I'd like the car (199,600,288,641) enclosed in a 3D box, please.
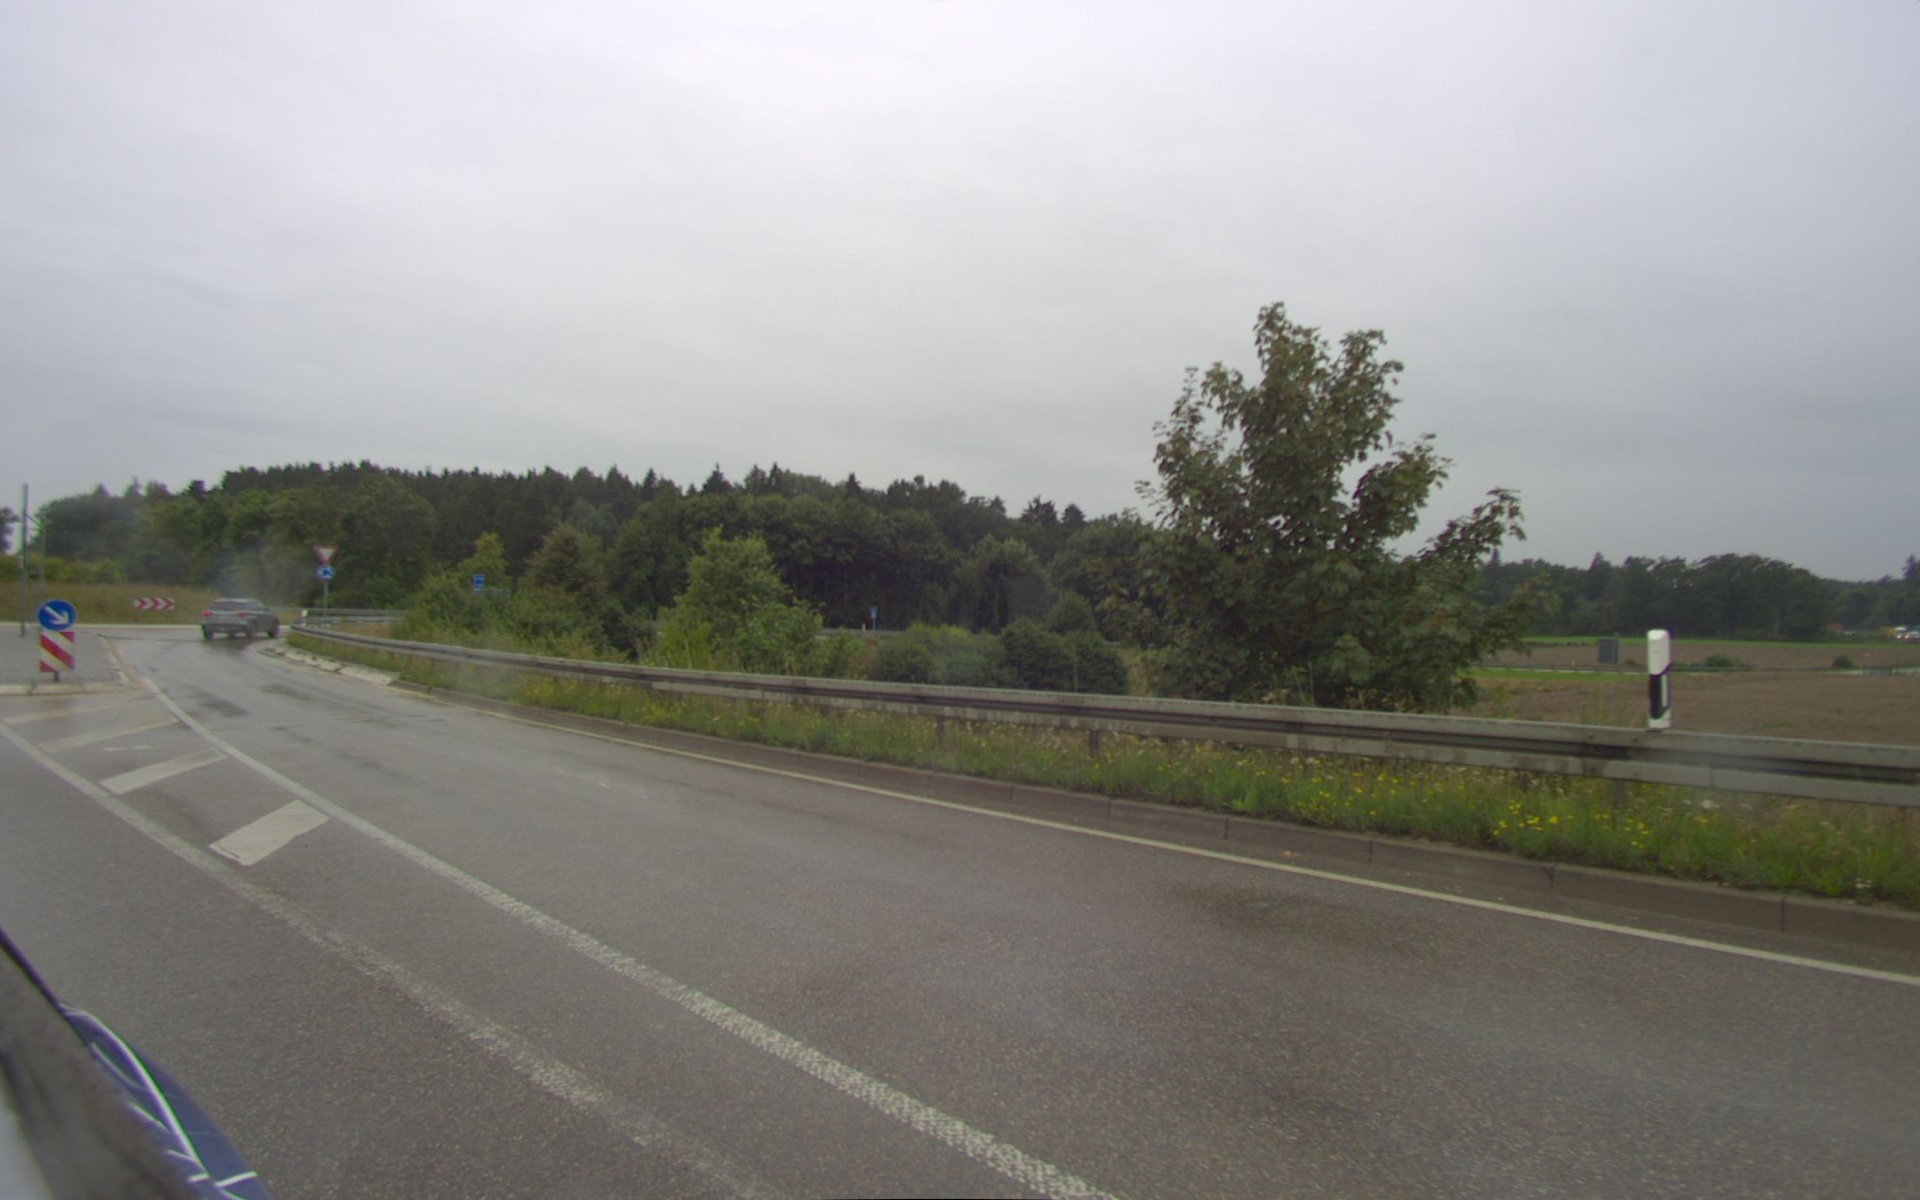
[{"bbox_3d":[-29.671,0.821,42.039,1.776,1.587,4.012,1,1,-16],"label":"car"}]
